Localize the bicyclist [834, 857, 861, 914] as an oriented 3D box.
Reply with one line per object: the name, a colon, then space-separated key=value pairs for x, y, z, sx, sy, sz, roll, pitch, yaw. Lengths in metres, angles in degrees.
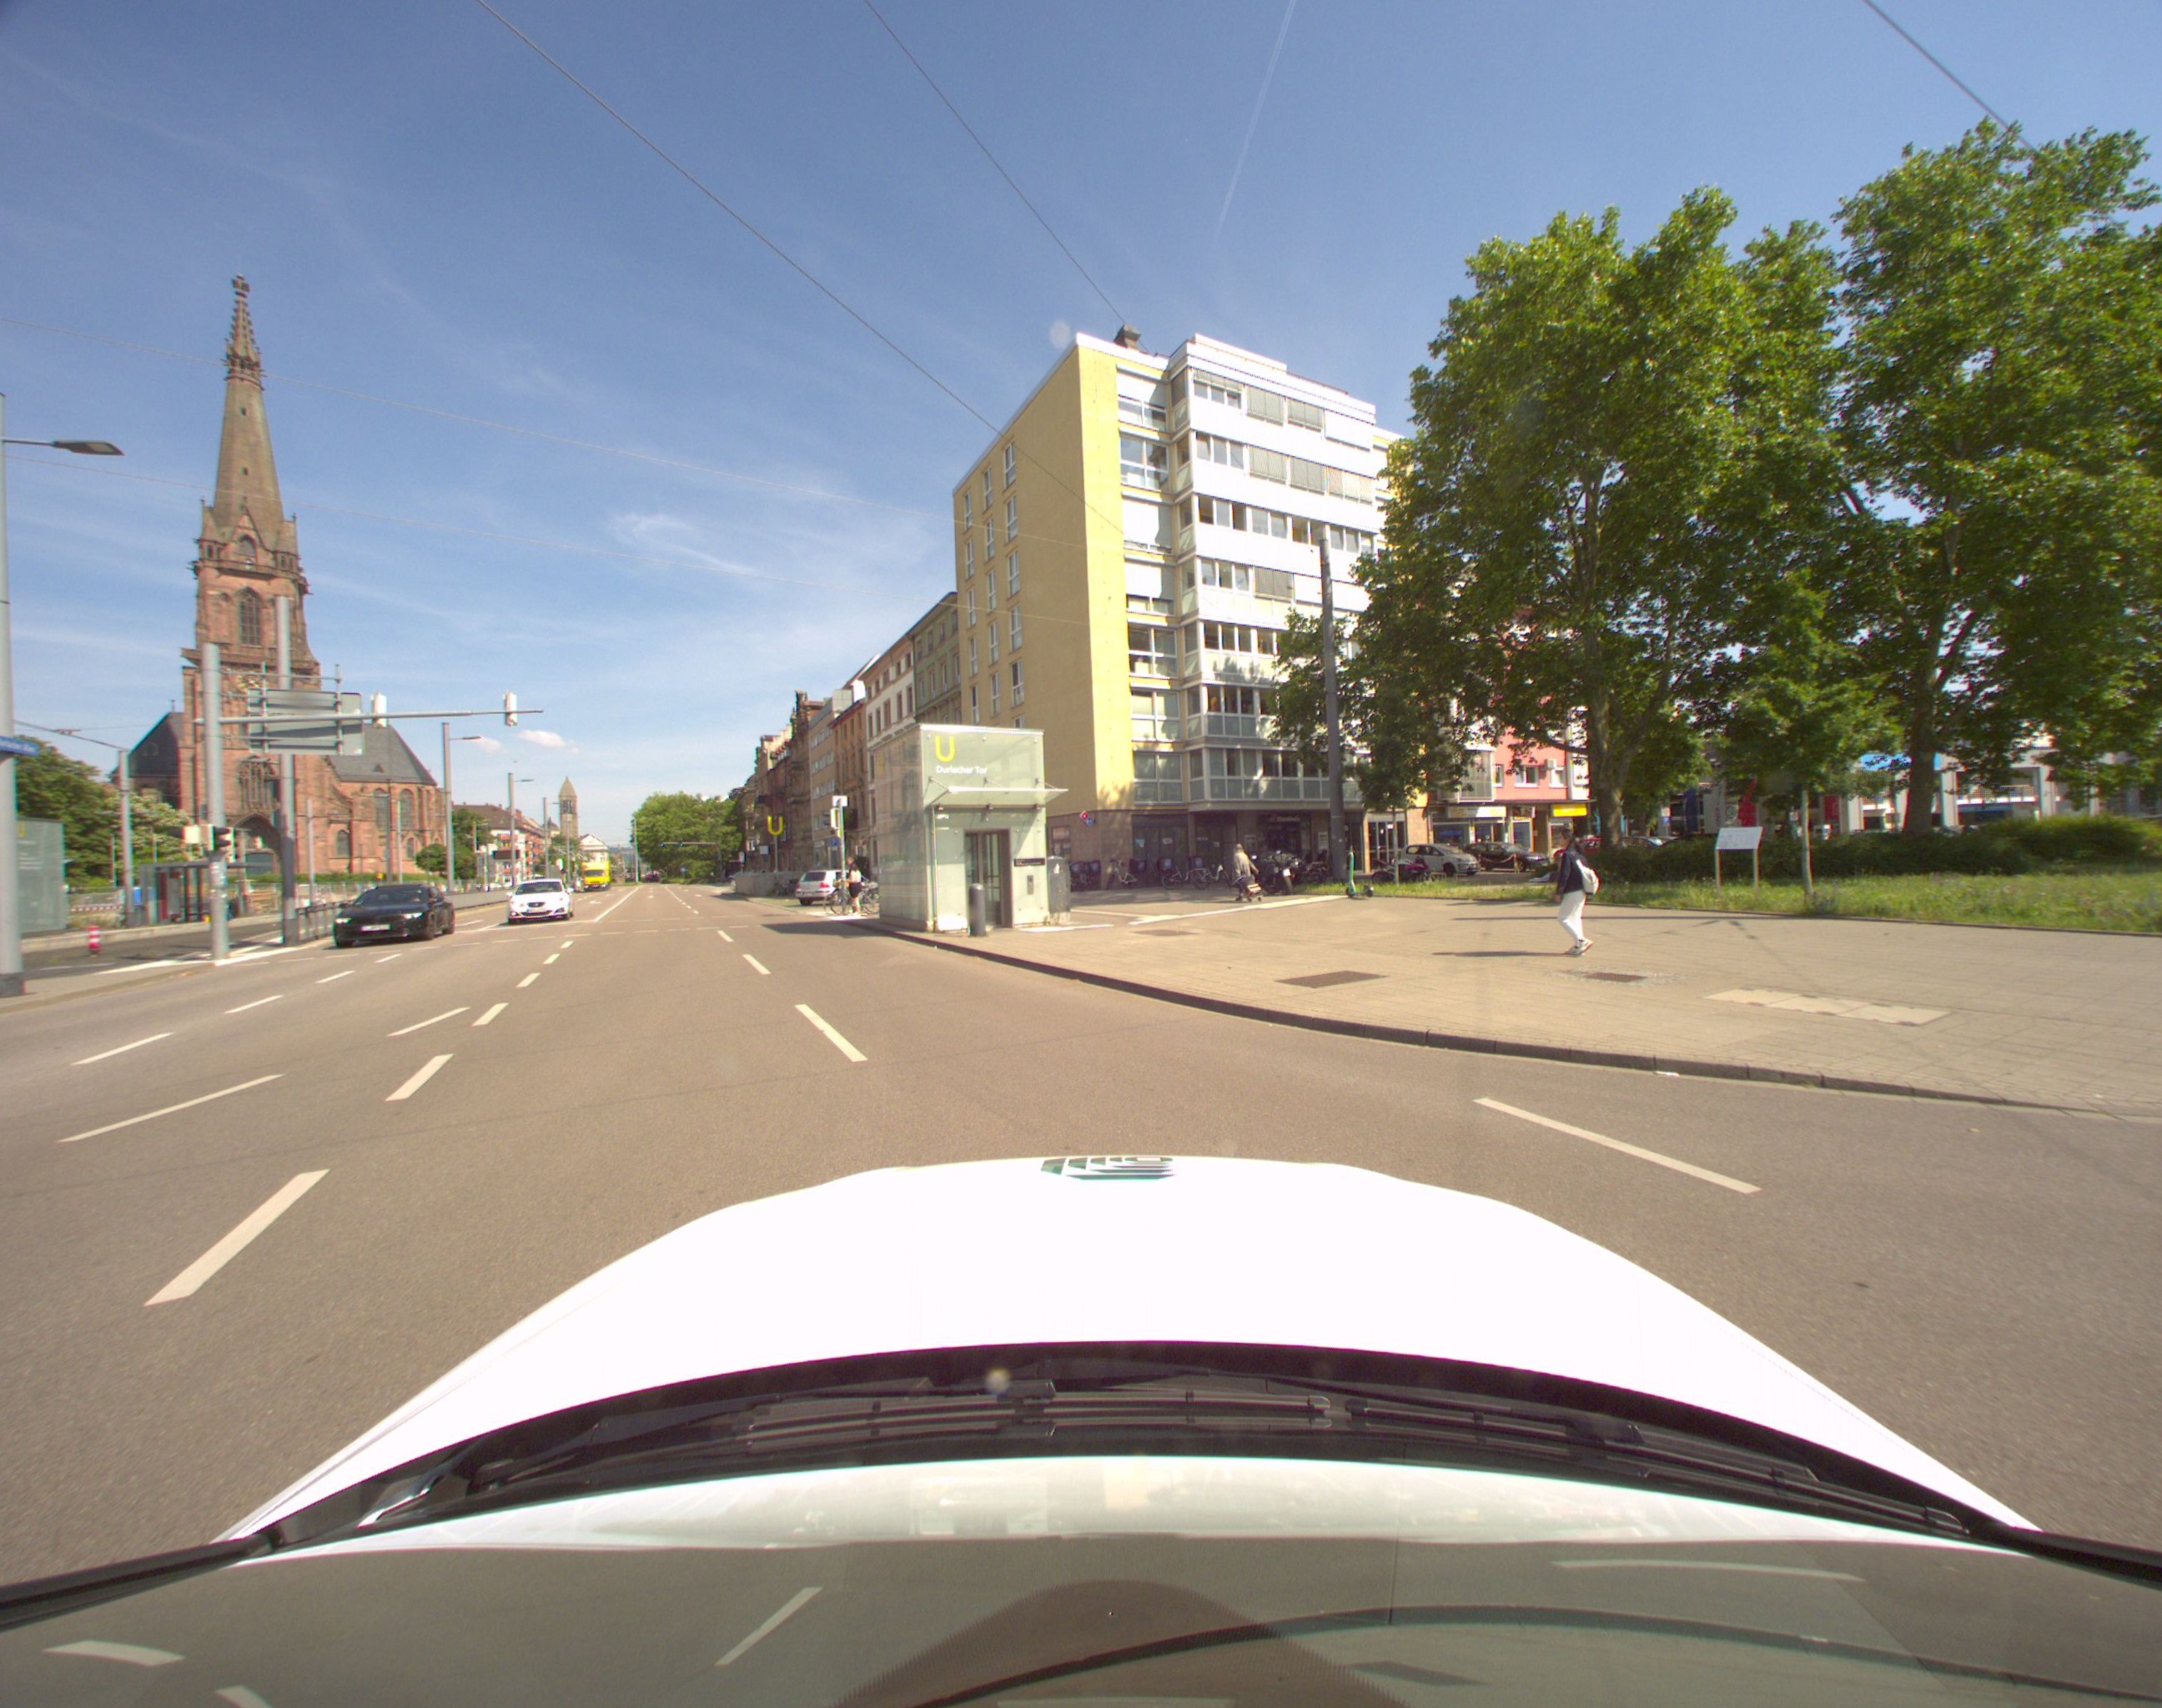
bicyclist: x=-7.302 y=0.985 z=25.512 sx=0.620 sy=1.735 sz=0.578 roll=-1 pitch=-1 yaw=-34

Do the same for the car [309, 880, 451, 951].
car: x=-17.928 y=1.495 z=21.057 sx=1.764 sy=1.456 sz=4.383 roll=-3 pitch=1 yaw=-28

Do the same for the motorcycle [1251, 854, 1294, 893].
motorcycle: x=5.499 y=0.532 z=23.487 sx=0.637 sy=1.062 sz=2.036 roll=-3 pitch=0 yaw=-3

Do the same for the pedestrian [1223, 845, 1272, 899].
pedestrian: x=4.383 y=0.486 z=21.538 sx=0.659 sy=1.404 sz=1.106 roll=1 pitch=-3 yaw=-32

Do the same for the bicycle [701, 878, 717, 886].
bicycle: x=-49.719 y=3.735 z=108.923 sx=1.835 sy=0.863 sz=0.477 roll=-2 pitch=2 yaw=-43

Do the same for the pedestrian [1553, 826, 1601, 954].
pedestrian: x=6.411 y=0.448 z=10.521 sx=0.449 sy=1.604 sz=0.402 roll=0 pitch=2 yaw=43

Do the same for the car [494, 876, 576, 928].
car: x=-18.316 y=1.552 z=27.478 sx=1.765 sy=1.397 sz=4.086 roll=-6 pitch=2 yaw=-28

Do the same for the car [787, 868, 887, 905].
car: x=-9.990 y=1.304 z=33.613 sx=1.792 sy=1.440 sz=4.021 roll=-1 pitch=-2 yaw=23

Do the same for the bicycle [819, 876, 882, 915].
bicycle: x=-7.254 y=1.288 z=25.683 sx=1.804 sy=1.130 sz=0.578 roll=-1 pitch=-1 yaw=-35

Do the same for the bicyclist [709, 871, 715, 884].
bicyclist: x=-49.467 y=3.146 z=109.151 sx=0.645 sy=1.591 sz=0.477 roll=-2 pitch=1 yaw=-43

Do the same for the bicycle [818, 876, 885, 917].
bicycle: x=-6.785 y=1.251 z=24.154 sx=1.792 sy=1.130 sz=0.751 roll=-2 pitch=-1 yaw=-11

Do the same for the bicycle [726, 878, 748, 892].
bicycle: x=-26.361 y=2.360 z=62.402 sx=1.469 sy=0.976 sz=0.412 roll=-2 pitch=2 yaw=-29

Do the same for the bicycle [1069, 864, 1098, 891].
bicycle: x=0.089 y=0.950 z=33.580 sx=0.584 sy=1.043 sz=1.744 roll=-3 pitch=0 yaw=-21

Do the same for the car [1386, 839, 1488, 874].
car: x=16.191 y=0.081 z=37.187 sx=1.895 sy=1.439 sz=3.965 roll=-2 pitch=2 yaw=-27

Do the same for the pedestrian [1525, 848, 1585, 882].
pedestrian: x=13.240 y=0.319 z=22.746 sx=0.825 sy=0.892 sz=1.165 roll=-3 pitch=0 yaw=-30

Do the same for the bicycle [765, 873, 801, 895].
bicycle: x=-16.657 y=1.674 z=45.541 sx=1.753 sy=1.094 sz=0.592 roll=-2 pitch=0 yaw=-29

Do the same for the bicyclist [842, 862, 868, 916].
bicyclist: x=-6.690 y=1.026 z=24.141 sx=0.611 sy=1.572 sz=0.730 roll=-2 pitch=-1 yaw=-11

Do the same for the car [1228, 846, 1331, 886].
car: x=7.667 y=0.491 z=31.867 sx=1.663 sy=1.470 sz=4.056 roll=1 pitch=-1 yaw=-27

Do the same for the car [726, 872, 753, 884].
car: x=-56.921 y=3.986 z=135.803 sx=4.009 sy=1.749 sz=1.983 roll=-2 pitch=2 yaw=-27

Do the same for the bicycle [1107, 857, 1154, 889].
bicycle: x=2.040 y=0.773 z=33.520 sx=1.894 sy=1.186 sz=0.537 roll=-3 pitch=0 yaw=-27

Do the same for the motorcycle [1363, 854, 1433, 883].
motorcycle: x=10.029 y=0.459 z=25.768 sx=2.013 sy=0.842 sz=0.644 roll=-3 pitch=0 yaw=22

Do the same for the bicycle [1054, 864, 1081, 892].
bicycle: x=-0.583 y=0.980 z=33.565 sx=0.583 sy=1.085 sz=1.747 roll=-6 pitch=0 yaw=-16

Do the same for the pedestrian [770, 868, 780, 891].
pedestrian: x=-22.848 y=1.892 z=60.797 sx=0.556 sy=1.665 sz=0.520 roll=-2 pitch=-1 yaw=-28

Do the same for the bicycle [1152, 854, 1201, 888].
bicycle: x=3.760 y=0.652 z=31.985 sx=1.756 sy=1.219 sz=0.580 roll=-3 pitch=0 yaw=-18

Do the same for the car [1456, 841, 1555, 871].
car: x=20.303 y=0.063 z=39.113 sx=1.748 sy=1.270 sz=3.965 roll=-2 pitch=2 yaw=-27

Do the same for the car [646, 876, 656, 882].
car: x=-100.108 y=5.831 z=189.709 sx=1.912 sy=1.376 sz=3.778 roll=-3 pitch=0 yaw=-31

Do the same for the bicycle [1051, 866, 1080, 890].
bicycle: x=-0.682 y=1.028 z=35.048 sx=0.585 sy=0.965 sz=1.743 roll=-3 pitch=0 yaw=-23

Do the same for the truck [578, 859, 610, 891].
truck: x=-55.455 y=2.412 z=92.955 sx=2.559 sy=3.298 sz=8.944 roll=-5 pitch=1 yaw=-29

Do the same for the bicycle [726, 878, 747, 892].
bicycle: x=-26.563 y=2.383 z=62.795 sx=1.469 sy=0.947 sz=0.411 roll=-2 pitch=-2 yaw=-29

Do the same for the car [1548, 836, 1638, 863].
car: x=27.165 y=-0.282 z=43.294 sx=1.748 sy=1.340 sz=3.702 roll=-2 pitch=2 yaw=-27

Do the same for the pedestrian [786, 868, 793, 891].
pedestrian: x=-21.863 y=1.923 z=61.149 sx=0.373 sy=1.665 sz=0.520 roll=-2 pitch=-1 yaw=-28

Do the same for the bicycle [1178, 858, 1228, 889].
bicycle: x=4.655 y=0.736 z=31.034 sx=1.756 sy=1.086 sz=0.580 roll=-3 pitch=0 yaw=-18

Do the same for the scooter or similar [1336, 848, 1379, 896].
scooter or similar: x=6.784 y=0.419 z=20.035 sx=0.514 sy=1.119 sz=1.364 roll=-3 pitch=0 yaw=-1
